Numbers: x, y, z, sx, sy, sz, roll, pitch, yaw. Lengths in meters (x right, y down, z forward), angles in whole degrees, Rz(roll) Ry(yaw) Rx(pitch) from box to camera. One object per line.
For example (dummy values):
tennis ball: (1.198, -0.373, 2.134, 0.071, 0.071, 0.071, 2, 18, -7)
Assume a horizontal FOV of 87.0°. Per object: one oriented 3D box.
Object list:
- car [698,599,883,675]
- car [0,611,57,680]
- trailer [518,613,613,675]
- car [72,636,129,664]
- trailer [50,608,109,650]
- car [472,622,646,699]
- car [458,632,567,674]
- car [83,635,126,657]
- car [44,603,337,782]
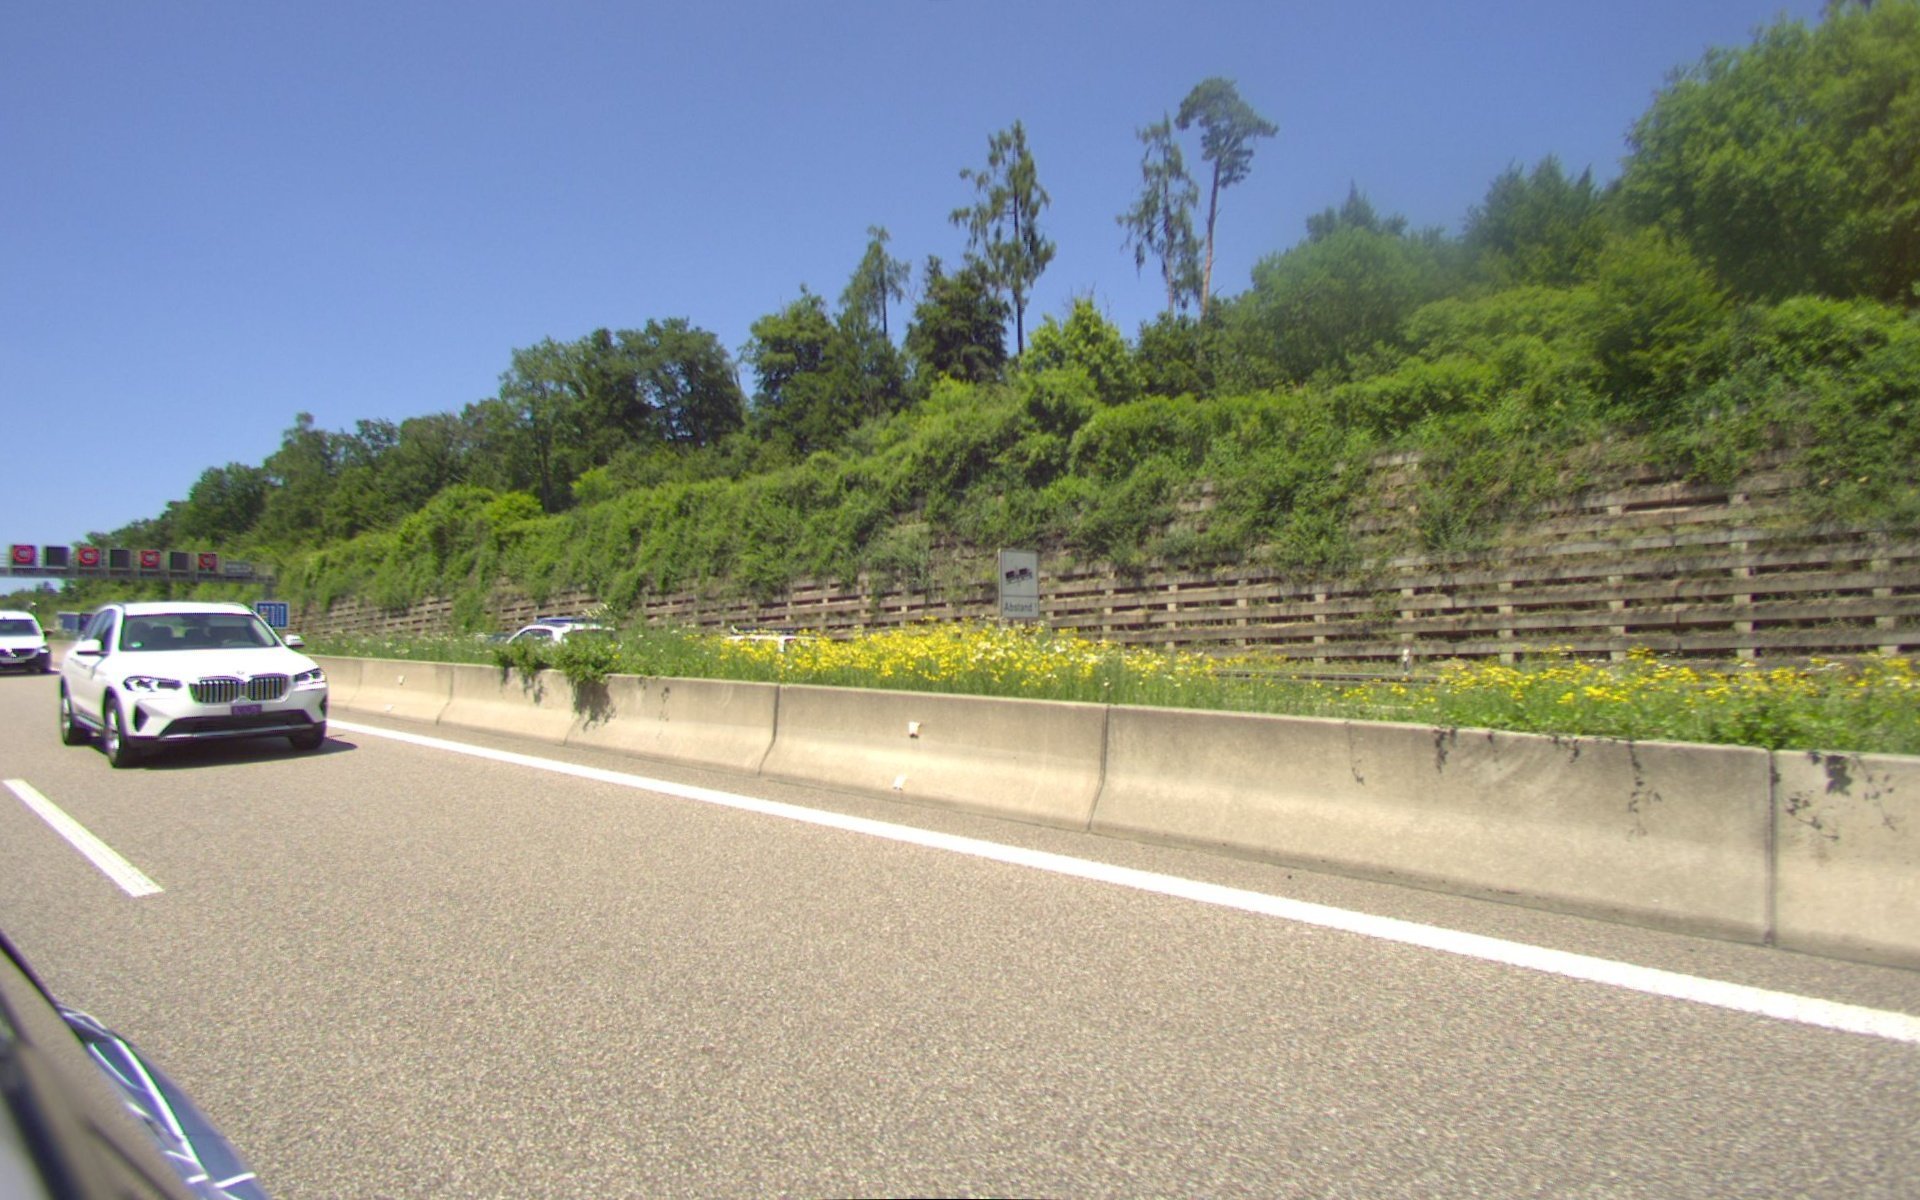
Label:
car: (-3.855, 0.828, 22.657, 4.202, 1.533, 1.916, -2, -3, 42)
car: (-27.068, 1.306, 28.502, 4.500, 1.788, 1.972, -3, -1, 43)
trailer: (-14.439, 1.594, 36.948, 3.494, 2.133, 1.875, -2, -3, 42)
car: (-47.987, 2.765, 56.473, 4.202, 1.533, 1.916, -2, -3, 42)
trailer: (-90.618, 3.019, 104.002, 14.179, 4.046, 2.652, -3, -3, 41)
car: (-8.809, 1.269, 22.086, 4.200, 1.533, 1.770, -2, -3, 40)
car: (-17.739, 2.044, 39.978, 5.475, 1.533, 1.916, -2, -3, 42)
car: (-65.408, 3.538, 77.329, 5.076, 1.619, 1.872, -3, -3, 42)
car: (-8.917, 0.908, 11.585, 4.366, 1.656, 1.826, -1, -1, 41)
